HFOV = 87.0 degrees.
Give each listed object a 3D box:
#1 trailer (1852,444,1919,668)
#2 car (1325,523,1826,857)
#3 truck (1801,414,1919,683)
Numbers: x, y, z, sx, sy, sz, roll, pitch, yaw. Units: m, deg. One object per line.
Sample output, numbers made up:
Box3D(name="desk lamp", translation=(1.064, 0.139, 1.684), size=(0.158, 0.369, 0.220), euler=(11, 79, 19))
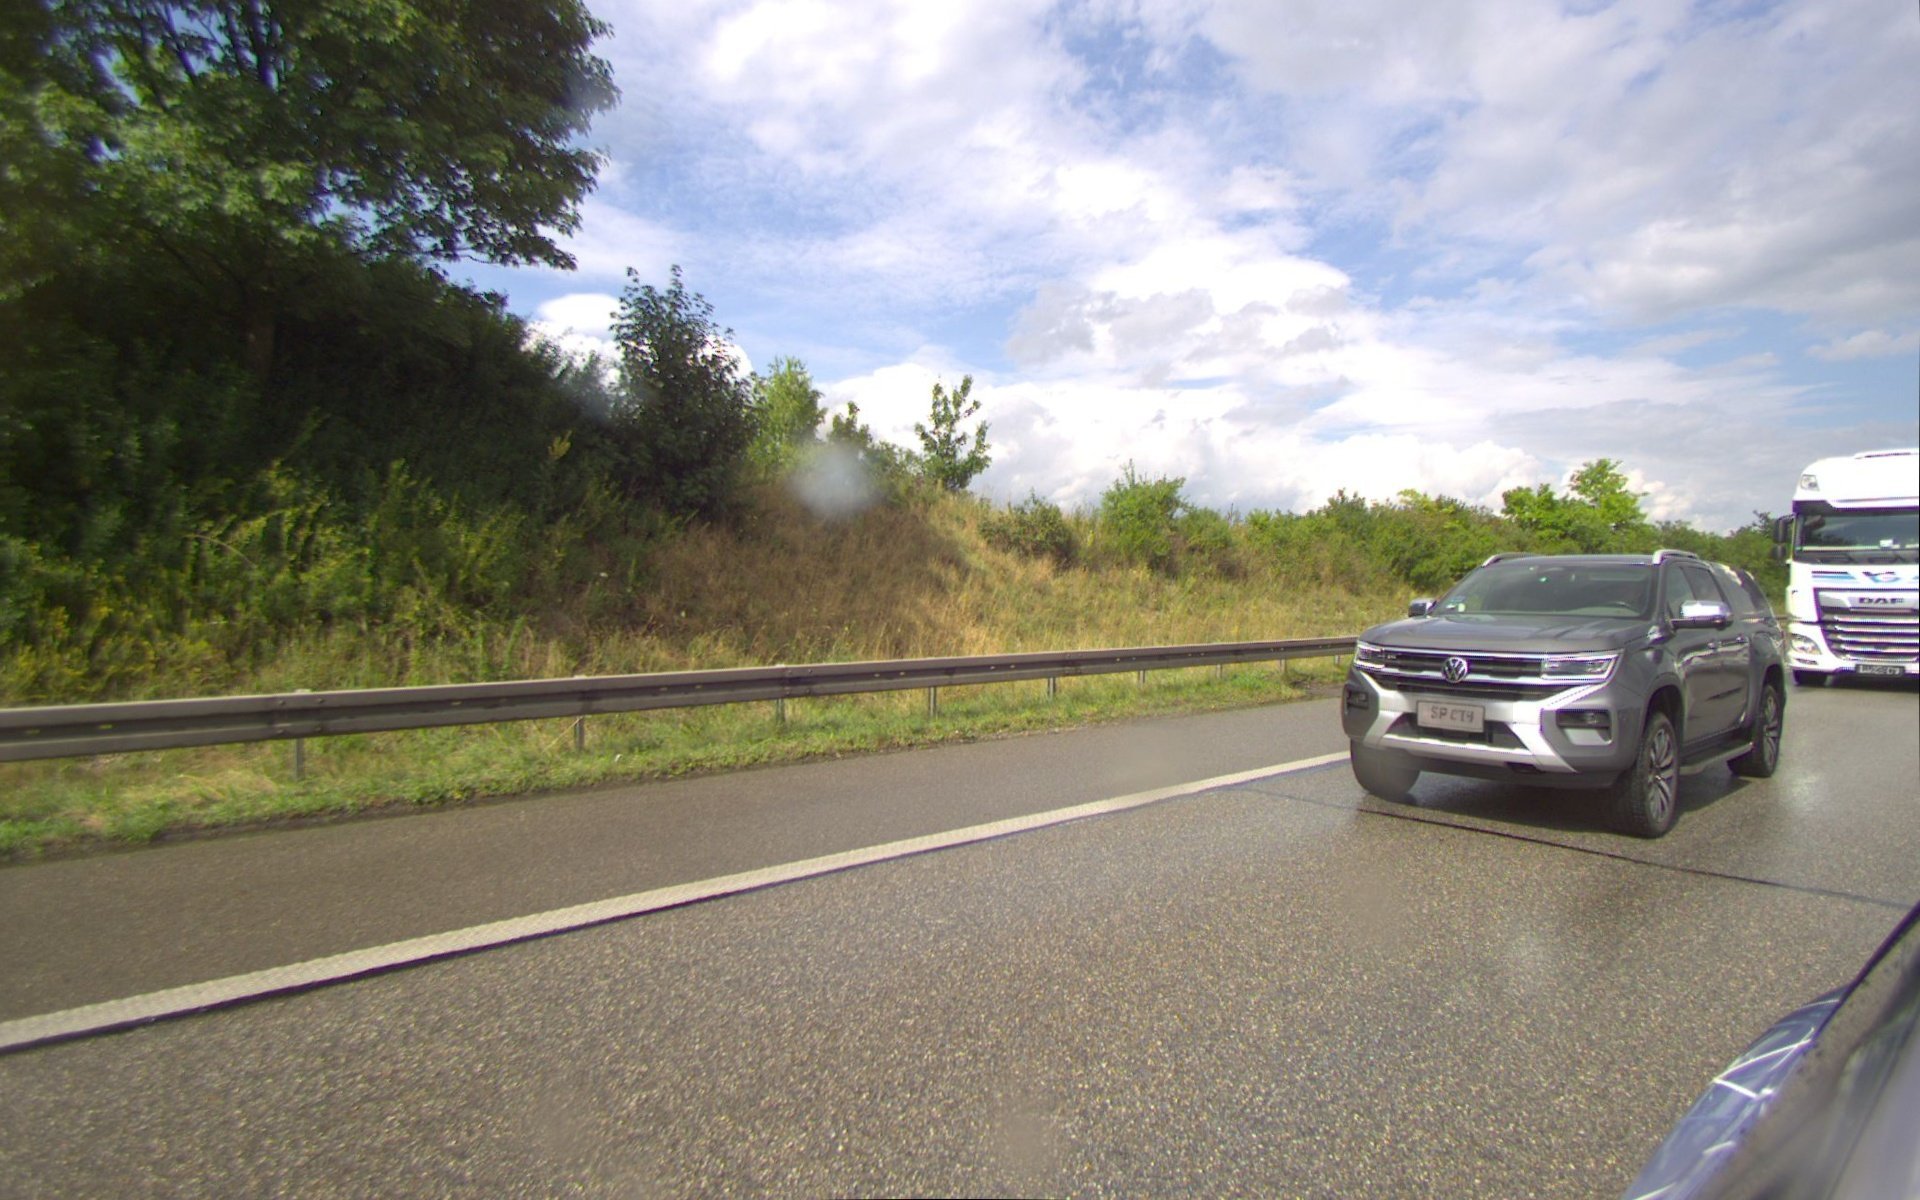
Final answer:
Box3D(name="trailer", translation=(22.611, -0.867, 22.573), size=(12.002, 4.171, 2.449), euler=(-1, 0, -41))
Box3D(name="car", translation=(5.069, 0.467, 7.933), size=(5.212, 1.826, 1.830), euler=(0, 1, -41))
Box3D(name="truck", translation=(16.687, -0.793, 17.502), size=(5.238, 4.156, 2.458), euler=(0, 0, -41))
